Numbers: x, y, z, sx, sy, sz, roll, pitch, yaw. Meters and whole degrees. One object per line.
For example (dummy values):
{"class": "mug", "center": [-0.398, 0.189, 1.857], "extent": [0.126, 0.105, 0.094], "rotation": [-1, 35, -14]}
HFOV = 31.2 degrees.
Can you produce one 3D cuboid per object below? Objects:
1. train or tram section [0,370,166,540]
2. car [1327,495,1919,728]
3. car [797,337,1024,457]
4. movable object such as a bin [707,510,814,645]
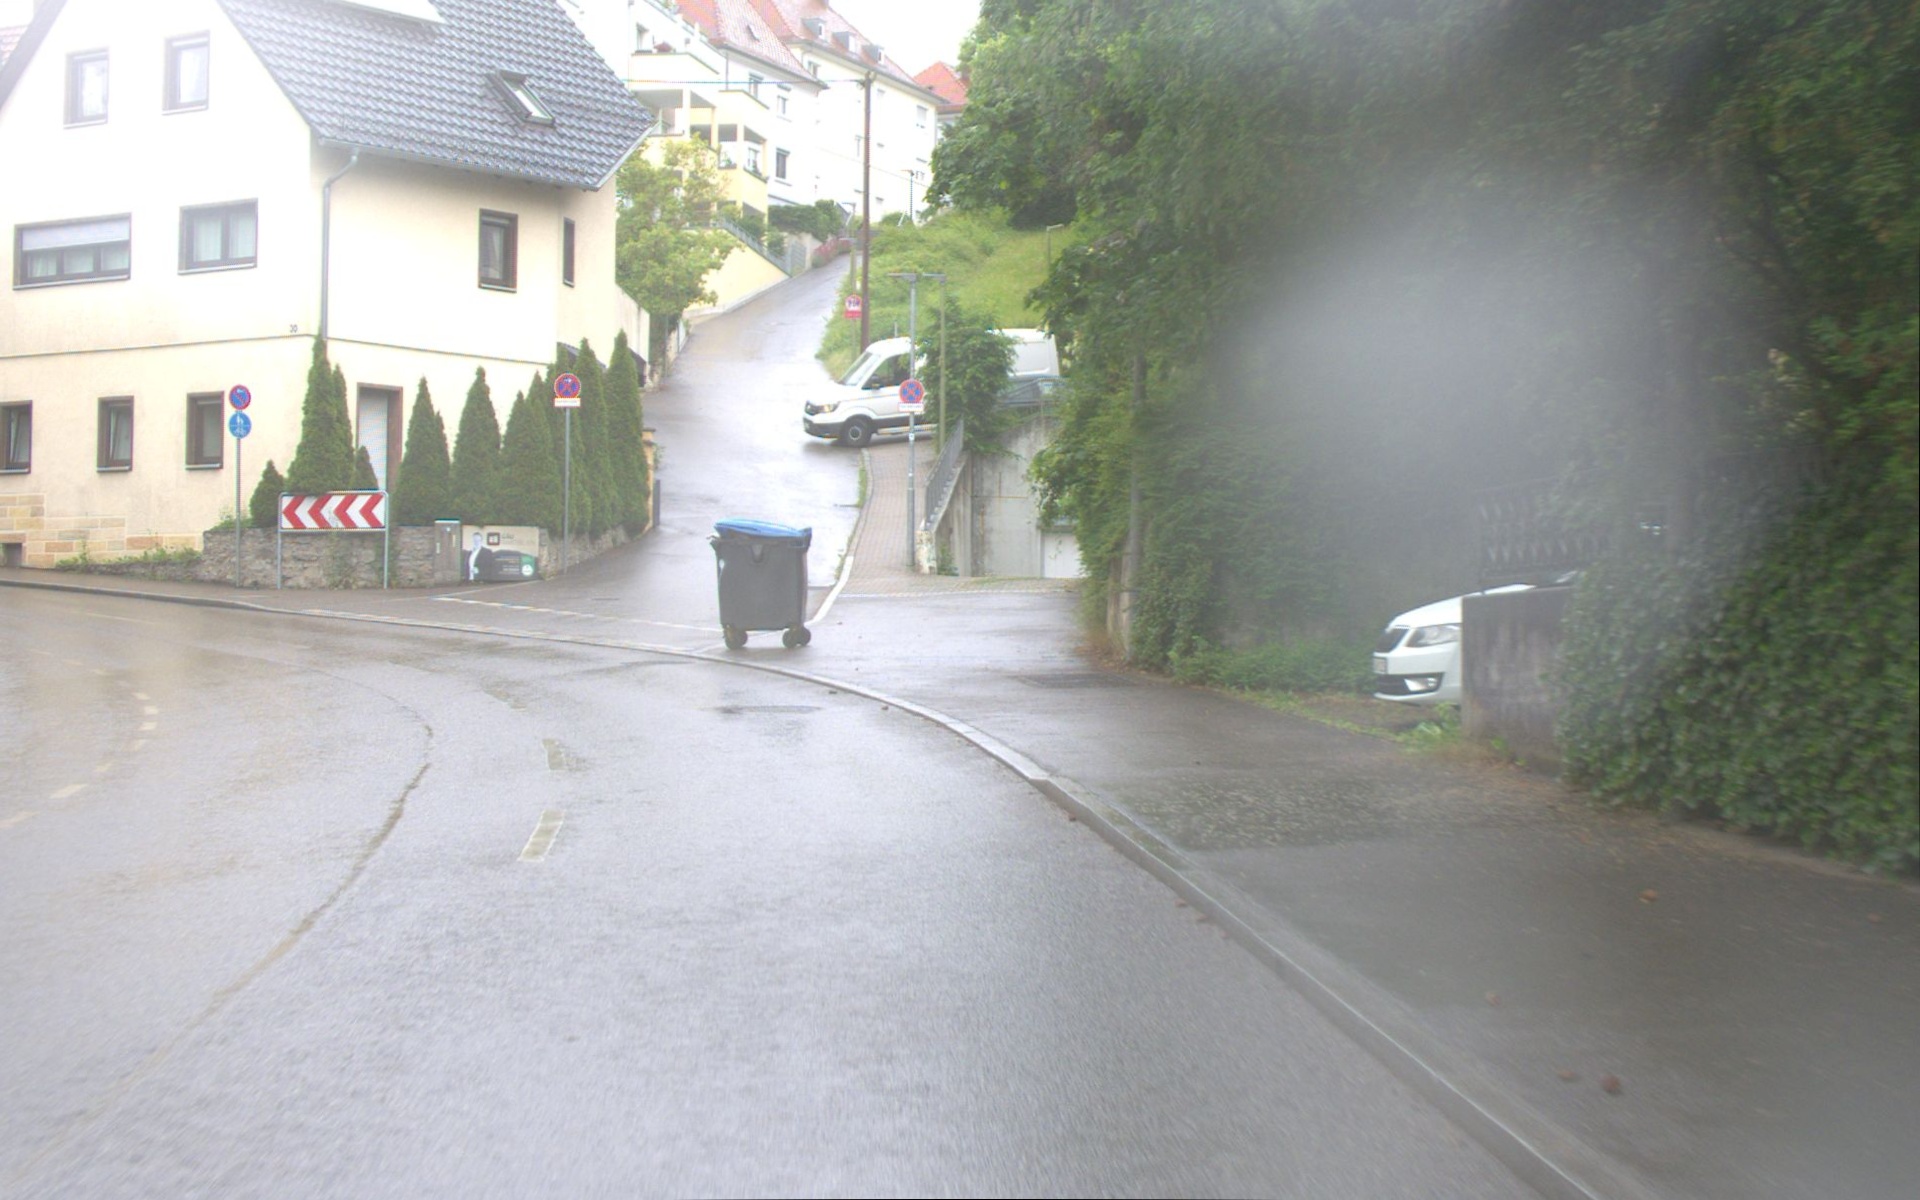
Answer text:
{"class": "train or tram section", "center": [-18.623, -2.769, 66.085], "extent": [2.362, 3.192, 6.858], "rotation": [1, 2, 32]}
{"class": "car", "center": [4.866, 0.051, 24.670], "extent": [4.143, 1.471, 1.905], "rotation": [-2, 2, -3]}
{"class": "car", "center": [-1.160, -4.654, 78.957], "extent": [4.942, 2.560, 1.905], "rotation": [-2, 1, -7]}
{"class": "movable object such as a bin", "center": [-2.187, -0.263, 37.875], "extent": [1.081, 1.437, 1.458], "rotation": [1, 1, 0]}
